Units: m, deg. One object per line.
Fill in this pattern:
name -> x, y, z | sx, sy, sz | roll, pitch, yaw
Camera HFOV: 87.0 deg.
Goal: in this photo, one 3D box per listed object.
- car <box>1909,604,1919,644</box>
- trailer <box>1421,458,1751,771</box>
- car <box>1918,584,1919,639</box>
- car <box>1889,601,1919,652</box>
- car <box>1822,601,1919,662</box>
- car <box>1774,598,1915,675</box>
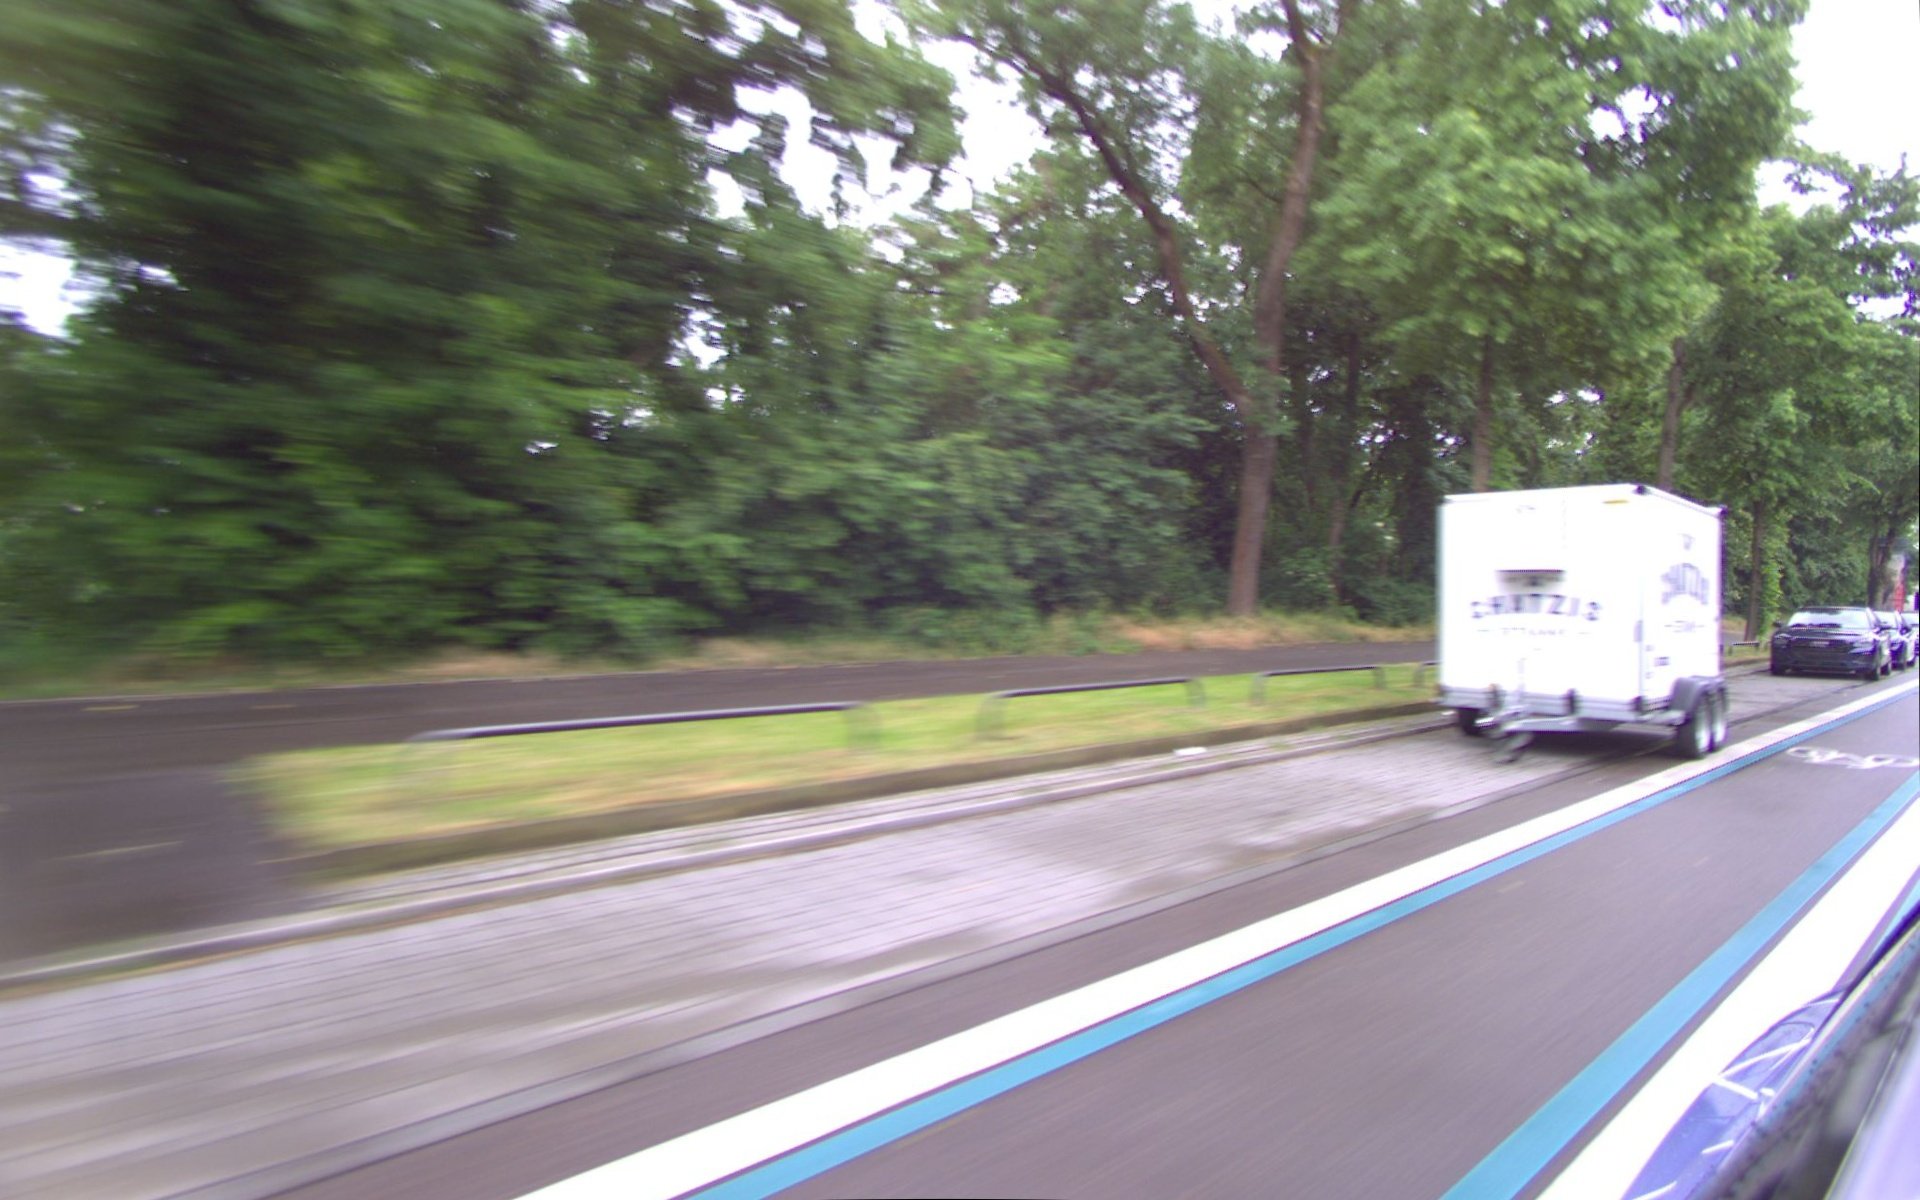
car -> 36.979, 0.907, 37.868 | 3.931, 1.420, 1.803 | 0, 1, -42
trailer -> 6.584, 0.106, 10.475 | 3.933, 2.597, 1.985 | 0, 1, -44
car -> 41.435, 0.472, 42.062 | 3.930, 2.273, 1.997 | 0, 0, -41
car -> 32.667, 0.876, 33.973 | 3.931, 1.618, 1.803 | 0, 1, -42
car -> 23.576, 0.746, 25.889 | 3.931, 1.395, 1.803 | 0, 1, -42
car -> 19.177, 0.719, 21.896 | 3.931, 1.482, 1.803 | 0, 1, -42
